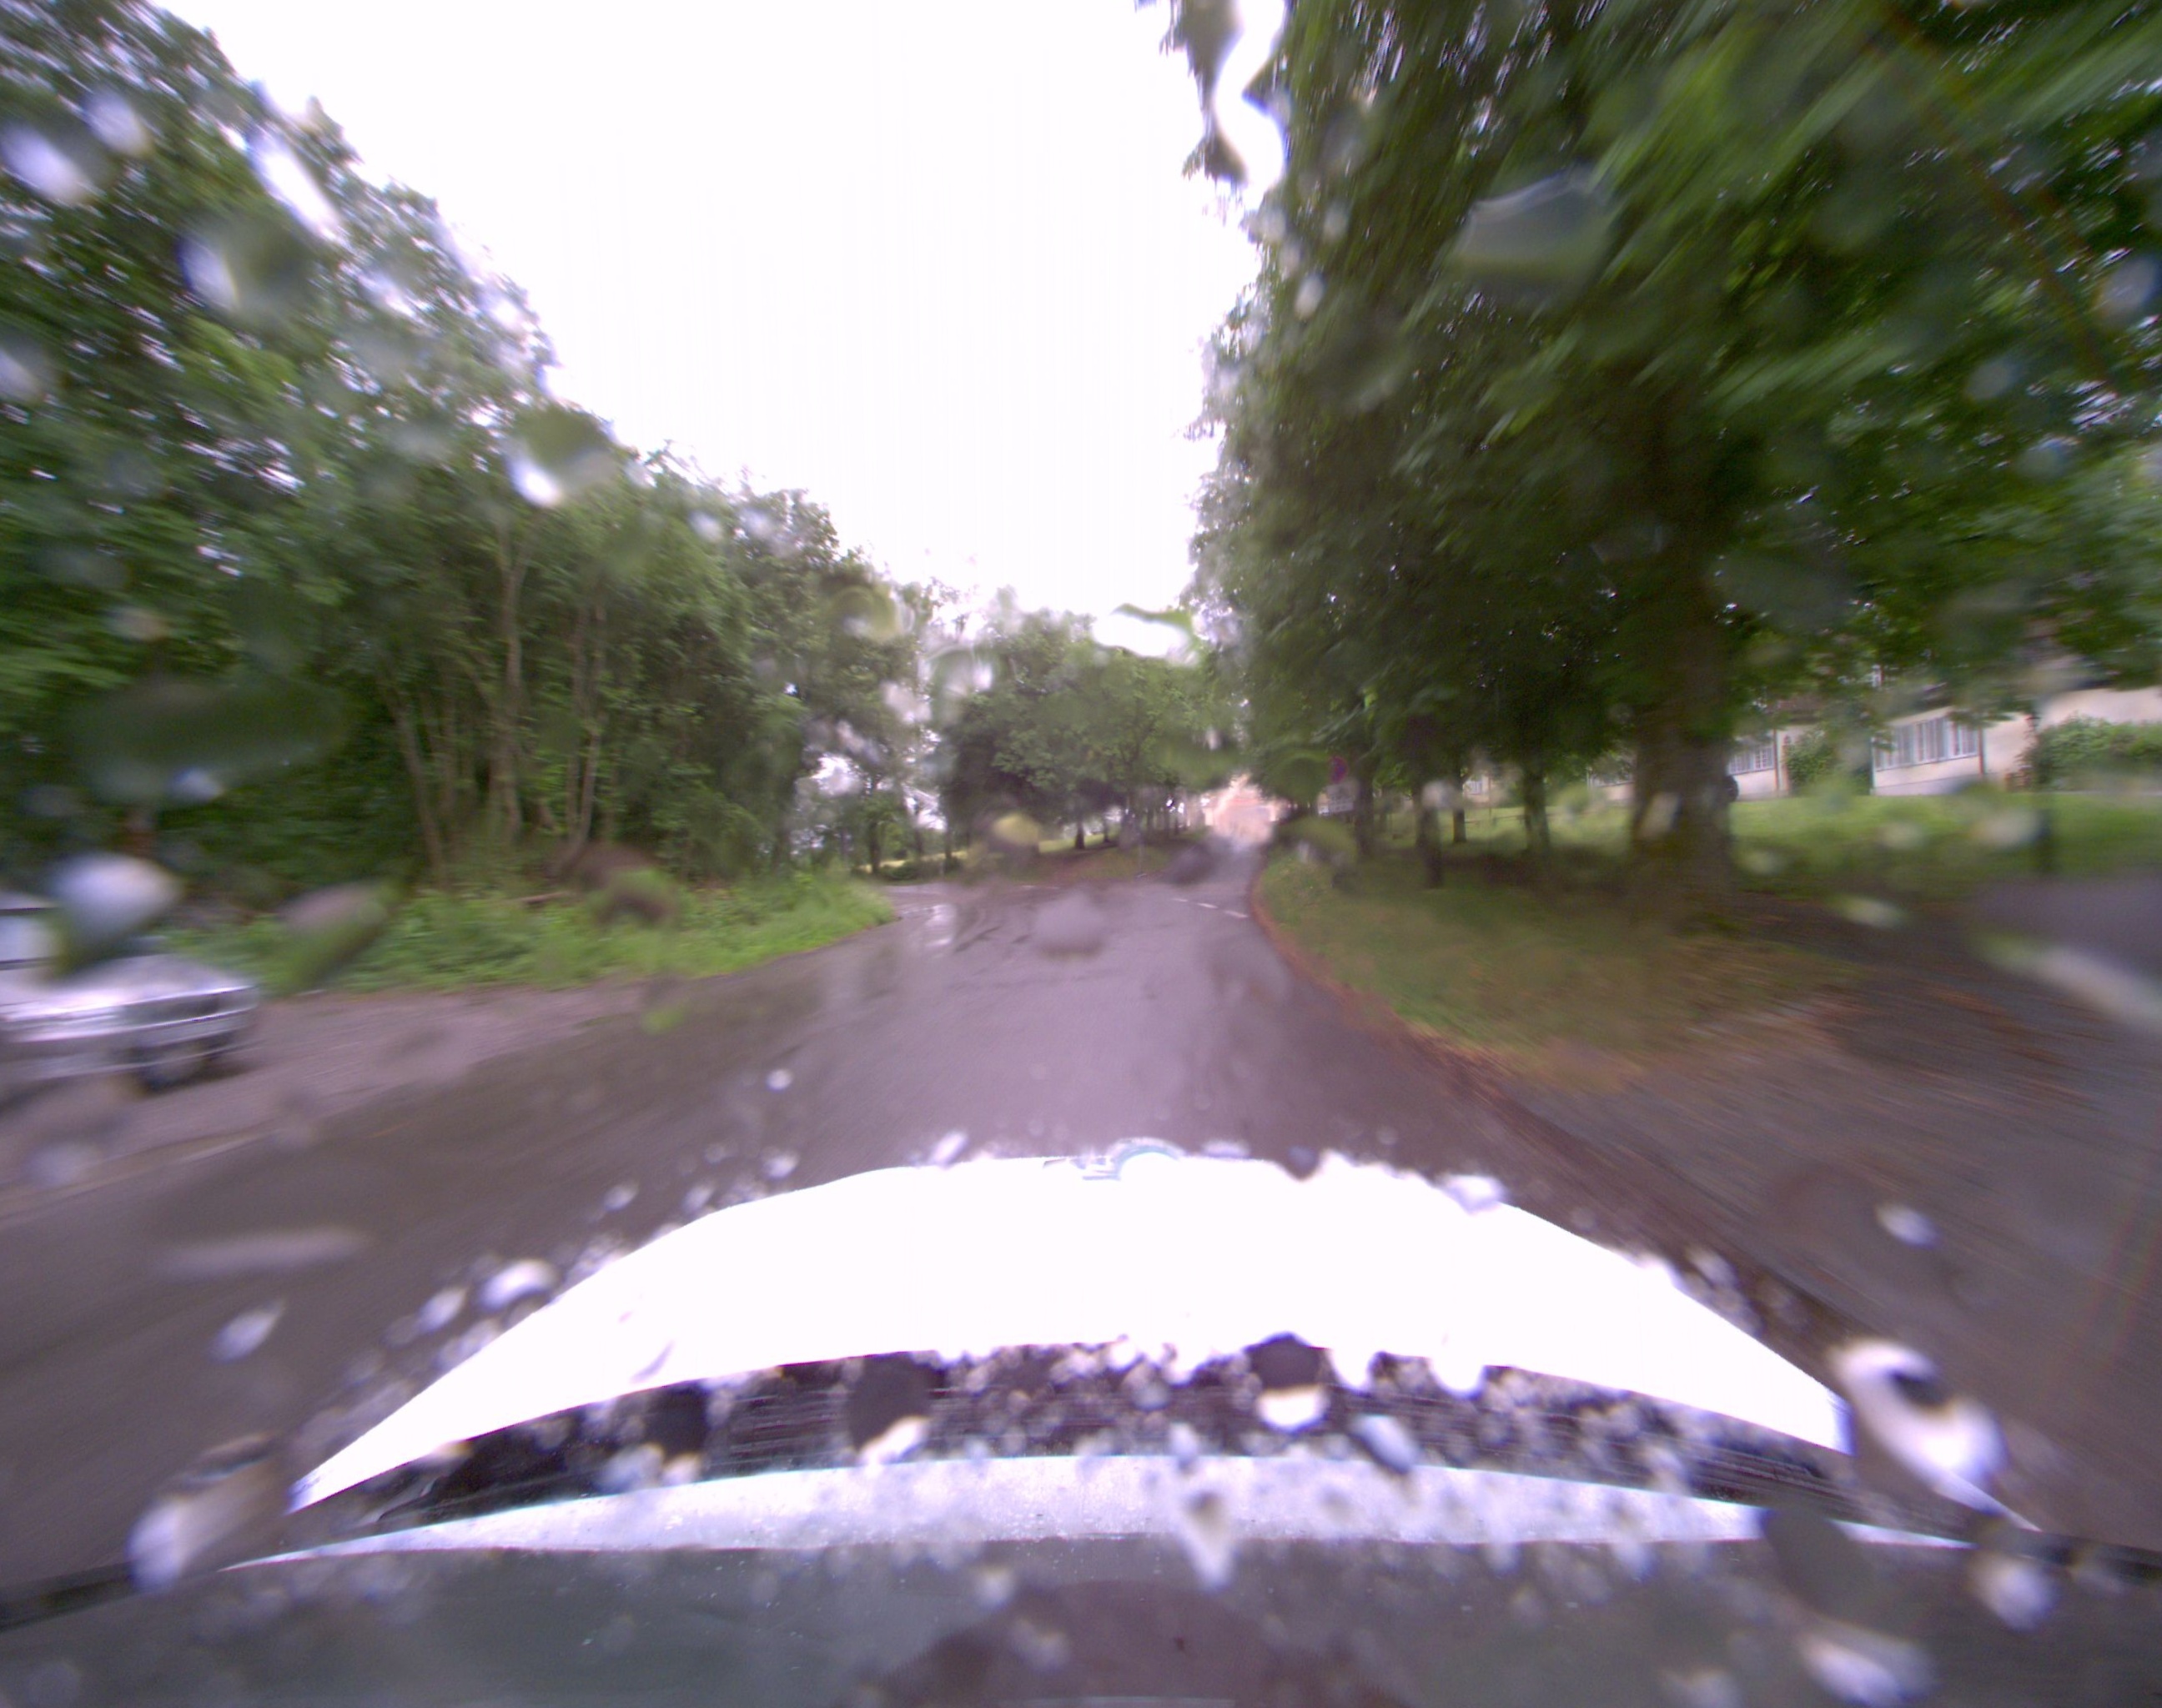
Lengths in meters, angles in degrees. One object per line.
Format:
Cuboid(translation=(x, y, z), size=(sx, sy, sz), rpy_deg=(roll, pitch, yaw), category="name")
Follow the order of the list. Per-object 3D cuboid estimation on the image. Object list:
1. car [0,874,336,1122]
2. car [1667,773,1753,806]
Cuboid(translation=(-8.636, 0.989, 6.339), size=(4.118, 1.554, 1.776), rpy_deg=(-1, 1, 4), category="car")
Cuboid(translation=(38.253, -3.892, 49.687), size=(1.984, 1.507, 4.515), rpy_deg=(-6, 1, 5), category="car")
